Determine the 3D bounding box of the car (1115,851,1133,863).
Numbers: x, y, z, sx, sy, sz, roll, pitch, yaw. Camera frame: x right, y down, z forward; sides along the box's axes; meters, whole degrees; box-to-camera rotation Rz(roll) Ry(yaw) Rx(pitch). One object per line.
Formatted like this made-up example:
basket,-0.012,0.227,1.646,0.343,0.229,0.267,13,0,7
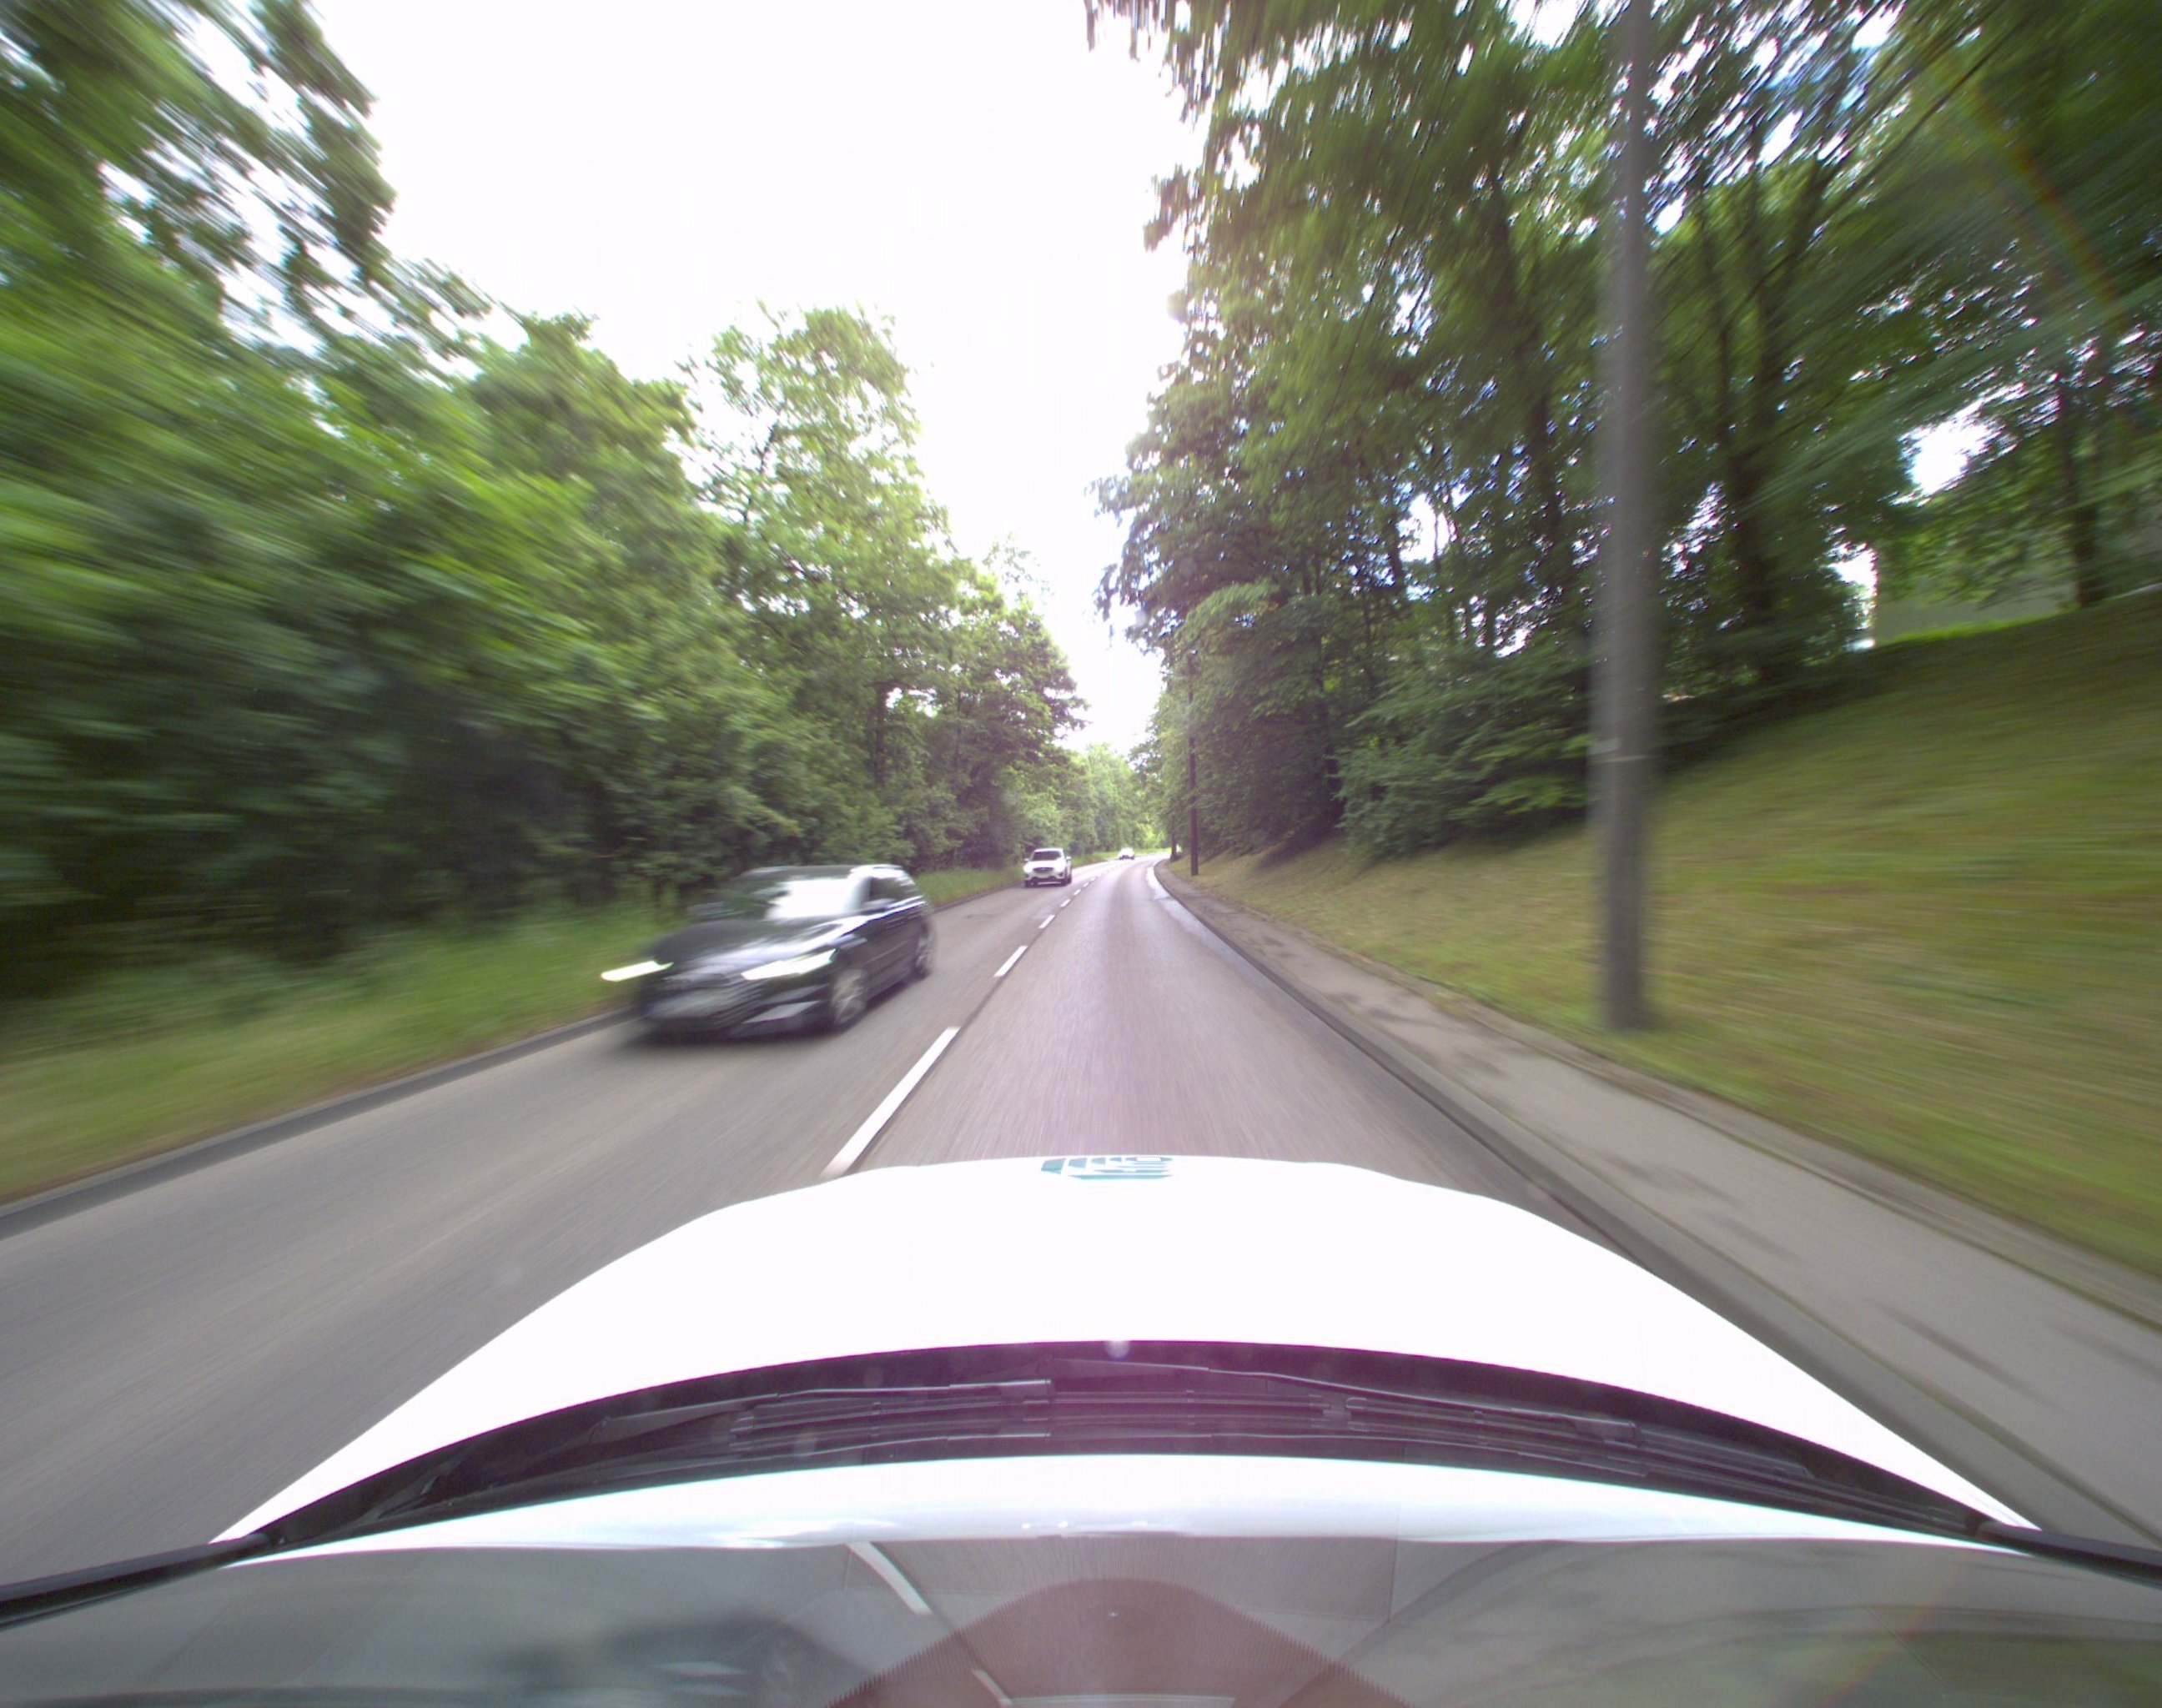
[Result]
car,5.705,0.407,107.427,1.989,1.437,3.996,0,-1,-3

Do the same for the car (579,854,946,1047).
car,-2.905,0.764,8.736,2.022,1.508,4.597,0,0,1

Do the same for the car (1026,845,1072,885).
car,-1.419,0.474,37.123,1.812,1.695,4.288,0,-1,1
